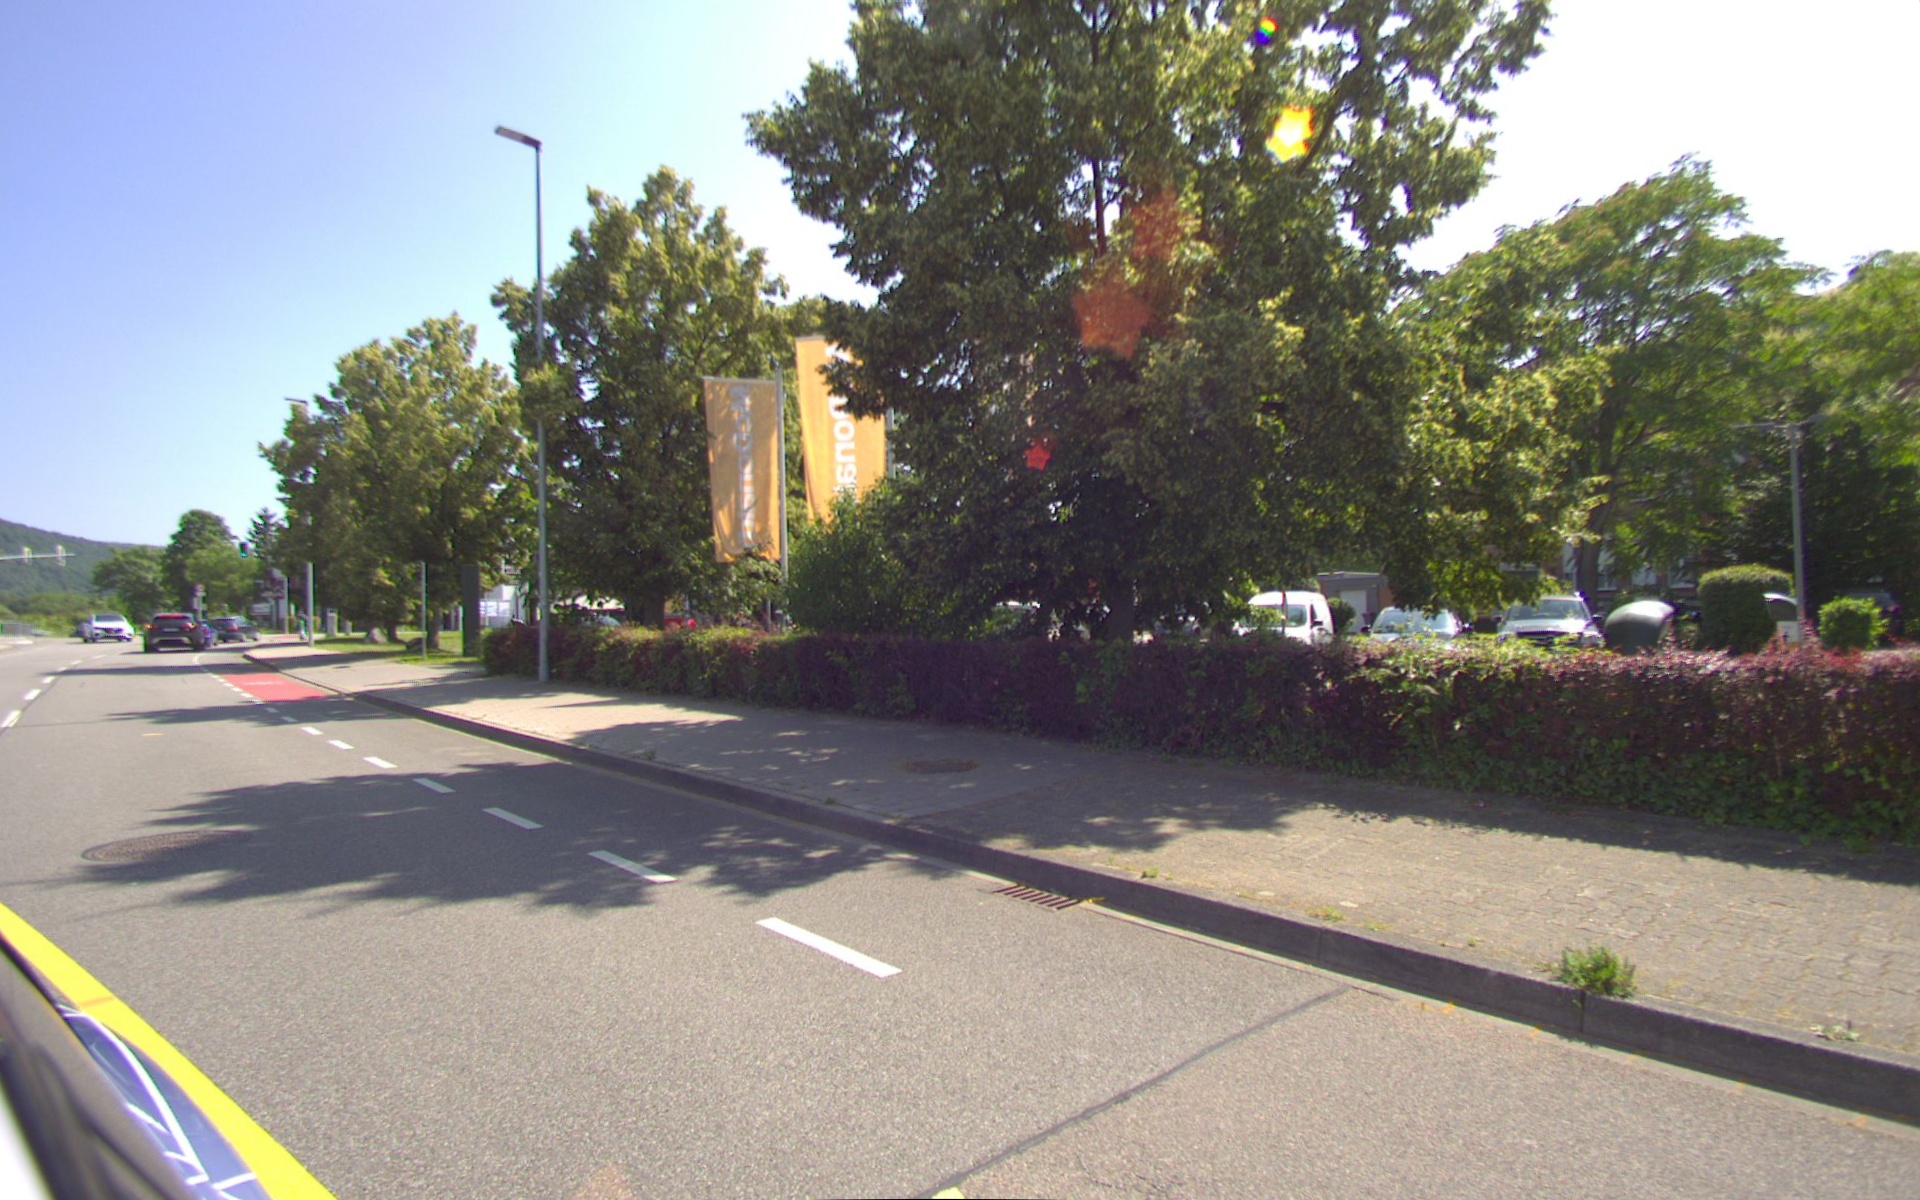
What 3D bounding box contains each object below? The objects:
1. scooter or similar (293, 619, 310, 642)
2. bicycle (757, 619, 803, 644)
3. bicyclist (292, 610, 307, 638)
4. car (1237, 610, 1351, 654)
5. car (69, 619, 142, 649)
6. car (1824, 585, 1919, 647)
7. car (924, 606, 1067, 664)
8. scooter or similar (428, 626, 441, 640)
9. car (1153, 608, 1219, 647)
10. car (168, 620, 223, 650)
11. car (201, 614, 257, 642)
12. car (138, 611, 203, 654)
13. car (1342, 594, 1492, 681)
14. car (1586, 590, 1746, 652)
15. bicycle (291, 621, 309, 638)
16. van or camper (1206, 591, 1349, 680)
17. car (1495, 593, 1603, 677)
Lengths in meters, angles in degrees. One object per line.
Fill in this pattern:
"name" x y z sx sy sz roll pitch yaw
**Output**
"scooter or similar" -34.566 1.607 53.132 0.465 1.193 1.370 0 -1 -22
"bicycle" -7.338 1.282 41.288 1.828 1.000 0.309 -1 -1 -12
"bicyclist" -42.985 1.534 65.881 0.700 1.802 0.811 0 -1 -25
"car" 11.139 1.059 33.803 3.336 1.386 1.573 -1 -1 34
"car" -51.468 2.068 60.957 4.616 1.732 1.979 -1 -1 31
"car" 25.707 0.436 28.505 1.796 1.610 3.950 -2 -1 37
"car" 1.123 1.100 32.252 4.227 1.748 1.702 -1 -1 27
"scooter or similar" -44.286 2.753 85.293 0.493 1.132 1.506 -1 -1 -6
"car" 8.474 1.009 37.795 1.392 1.386 3.308 -1 -1 32
"car" -38.092 1.722 50.497 1.633 1.391 4.012 0 -1 -29
"car" -41.524 1.584 57.595 1.754 1.508 4.738 0 -1 -25
"car" -33.567 1.376 43.130 1.924 1.708 4.624 0 -1 -35
"car" 8.808 0.666 19.331 1.890 1.471 3.952 -1 -1 35
"car" 18.614 0.552 26.722 3.376 1.538 1.505 -1 -1 -12
"bicycle" -42.944 1.932 65.857 0.687 1.113 1.761 1 -2 -25
"van or camper" 7.016 0.724 22.083 1.993 1.753 4.238 -1 -1 31
"car" 12.117 0.668 20.718 1.736 1.538 3.956 -1 -1 33
